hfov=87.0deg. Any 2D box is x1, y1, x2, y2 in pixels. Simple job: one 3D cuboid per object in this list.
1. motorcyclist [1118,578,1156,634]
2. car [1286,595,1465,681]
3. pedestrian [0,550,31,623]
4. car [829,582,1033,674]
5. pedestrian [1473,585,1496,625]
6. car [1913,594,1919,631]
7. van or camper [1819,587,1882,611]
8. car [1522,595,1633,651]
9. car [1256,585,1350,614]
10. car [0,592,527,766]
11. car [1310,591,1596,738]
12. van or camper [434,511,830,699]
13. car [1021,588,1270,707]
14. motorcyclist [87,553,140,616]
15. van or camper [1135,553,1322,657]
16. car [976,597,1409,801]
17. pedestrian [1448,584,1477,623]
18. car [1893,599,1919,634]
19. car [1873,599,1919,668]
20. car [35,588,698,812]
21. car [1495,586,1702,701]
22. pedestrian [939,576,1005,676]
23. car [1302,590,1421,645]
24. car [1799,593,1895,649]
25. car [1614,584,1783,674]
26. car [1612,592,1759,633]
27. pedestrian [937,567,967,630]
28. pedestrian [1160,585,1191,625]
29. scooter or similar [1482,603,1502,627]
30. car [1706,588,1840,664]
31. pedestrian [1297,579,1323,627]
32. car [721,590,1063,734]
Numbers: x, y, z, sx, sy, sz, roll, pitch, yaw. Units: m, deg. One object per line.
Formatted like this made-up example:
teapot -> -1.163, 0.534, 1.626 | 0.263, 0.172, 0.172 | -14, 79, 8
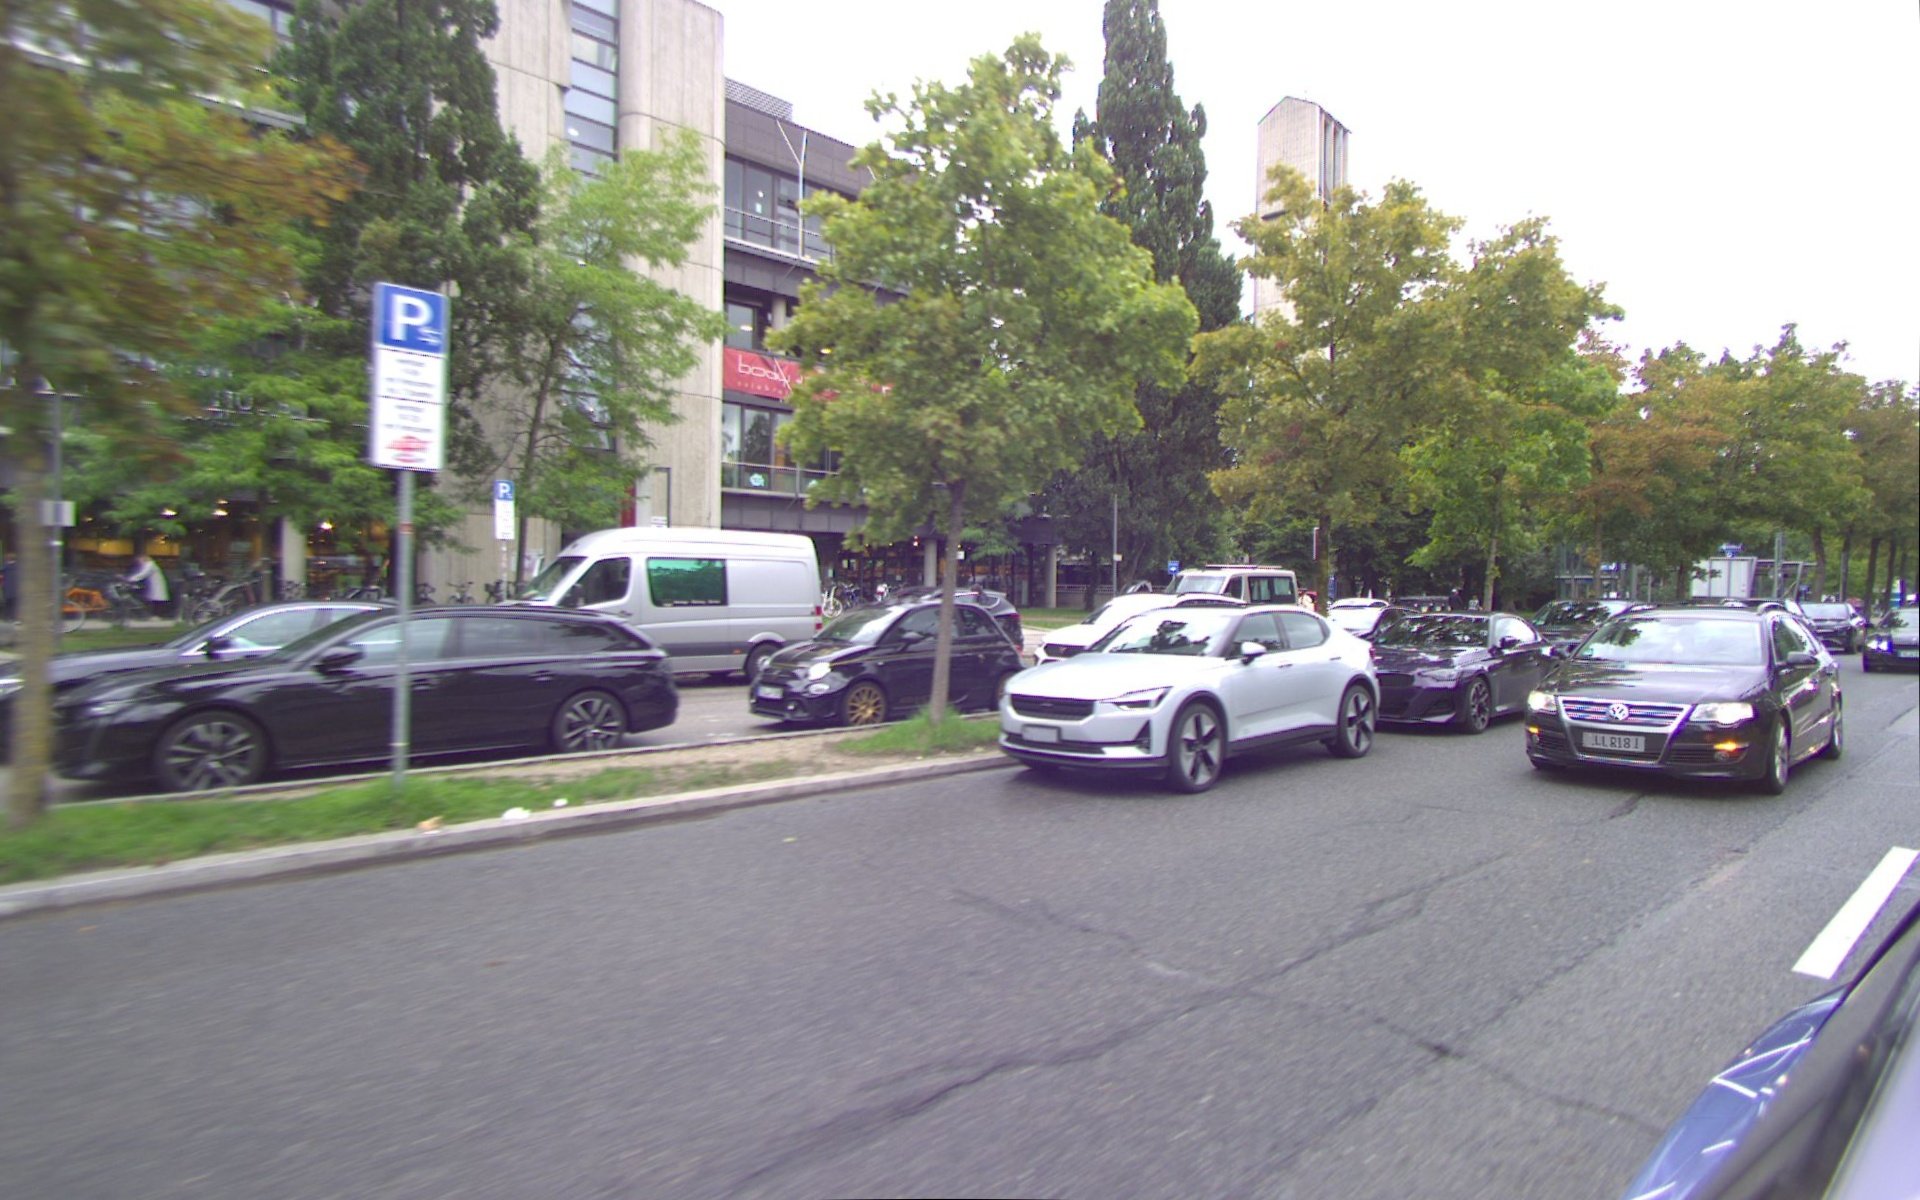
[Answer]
motorcyclist -> 5.817, 0.173, 33.220 | 0.936, 1.757, 0.693 | 0, 5, -41
car -> 8.254, 0.664, 19.948 | 3.941, 1.497, 1.750 | 0, 1, -42
pedestrian -> -21.390, -0.302, 22.549 | 0.954, 1.599, 0.690 | 0, 0, -40
car -> -0.526, 0.501, 20.613 | 3.938, 1.684, 1.751 | 0, 1, -41
pedestrian -> 23.521, 0.222, 45.405 | 0.970, 1.742, 0.540 | 0, 2, -41
car -> 46.318, 0.571, 47.639 | 4.517, 1.696, 1.789 | 0, 1, -43
van or camper -> 85.774, -0.091, 97.456 | 6.069, 2.325, 2.153 | 0, 0, -23
car -> 17.831, 0.630, 29.169 | 3.933, 1.507, 1.765 | 0, -1, -44
car -> 14.326, -0.036, 42.333 | 1.536, 1.166, 3.443 | 0, 0, -44
car -> -7.286, 0.670, 10.632 | 4.754, 1.472, 1.687 | 0, 1, -41
car -> 6.424, 0.682, 12.956 | 4.347, 1.565, 1.767 | 0, 0, -41
van or camper -> -5.155, 0.050, 16.579 | 5.851, 2.590, 2.028 | 0, 1, -41
car -> 2.940, 0.633, 15.598 | 3.938, 1.605, 1.687 | 0, 1, -41
motorcyclist -> -20.633, -0.368, 24.682 | 0.967, 1.495, 0.943 | 0, 1, -40
van or camper -> 7.478, 0.107, 27.792 | 5.851, 2.590, 1.997 | 0, 1, -41
car -> 2.349, 0.727, 9.433 | 4.435, 1.472, 1.708 | 0, -1, -42
pedestrian -> 23.055, 0.146, 46.415 | 0.923, 1.742, 0.830 | 0, 2, -41
car -> 41.910, 0.688, 43.914 | 4.405, 1.452, 1.656 | 0, 1, -42
car -> 22.196, 0.726, 22.835 | 4.589, 1.447, 1.818 | 0, 1, -41
car -> -4.817, 0.651, 8.808 | 4.648, 1.472, 1.688 | 0, 1, -39
car -> 10.709, 0.619, 16.860 | 4.347, 1.672, 1.767 | 0, 0, -41
pedestrian -> 0.237, 0.487, 19.720 | 0.888, 1.874, 0.876 | 1, 2, -42
car -> 13.160, 0.526, 33.098 | 3.930, 1.671, 1.997 | 0, 1, -41
car -> 27.615, 0.610, 31.450 | 4.376, 1.609, 1.764 | 0, 1, -42
car -> 15.372, 0.535, 20.991 | 4.309, 1.672, 1.726 | 0, 1, -38
car -> 30.133, 0.507, 42.122 | 4.751, 1.645, 1.975 | 0, 0, -3
pedestrian -> -0.231, -0.053, 28.627 | 0.721, 1.773, 0.574 | 1, 0, 15
pedestrian -> 7.369, 0.159, 34.601 | 0.685, 1.306, 0.735 | 0, 3, -36
scooter or similar -> 24.209, 0.687, 46.030 | 0.818, 1.031, 0.501 | 0, 2, -41
car -> 20.350, 0.591, 25.261 | 4.735, 1.722, 1.765 | 0, 1, -40
pedestrian -> 12.979, 0.106, 37.520 | 0.718, 1.773, 0.577 | 0, 0, -36
car -> -0.722, 0.627, 12.329 | 3.938, 1.472, 1.687 | 0, 1, -41
